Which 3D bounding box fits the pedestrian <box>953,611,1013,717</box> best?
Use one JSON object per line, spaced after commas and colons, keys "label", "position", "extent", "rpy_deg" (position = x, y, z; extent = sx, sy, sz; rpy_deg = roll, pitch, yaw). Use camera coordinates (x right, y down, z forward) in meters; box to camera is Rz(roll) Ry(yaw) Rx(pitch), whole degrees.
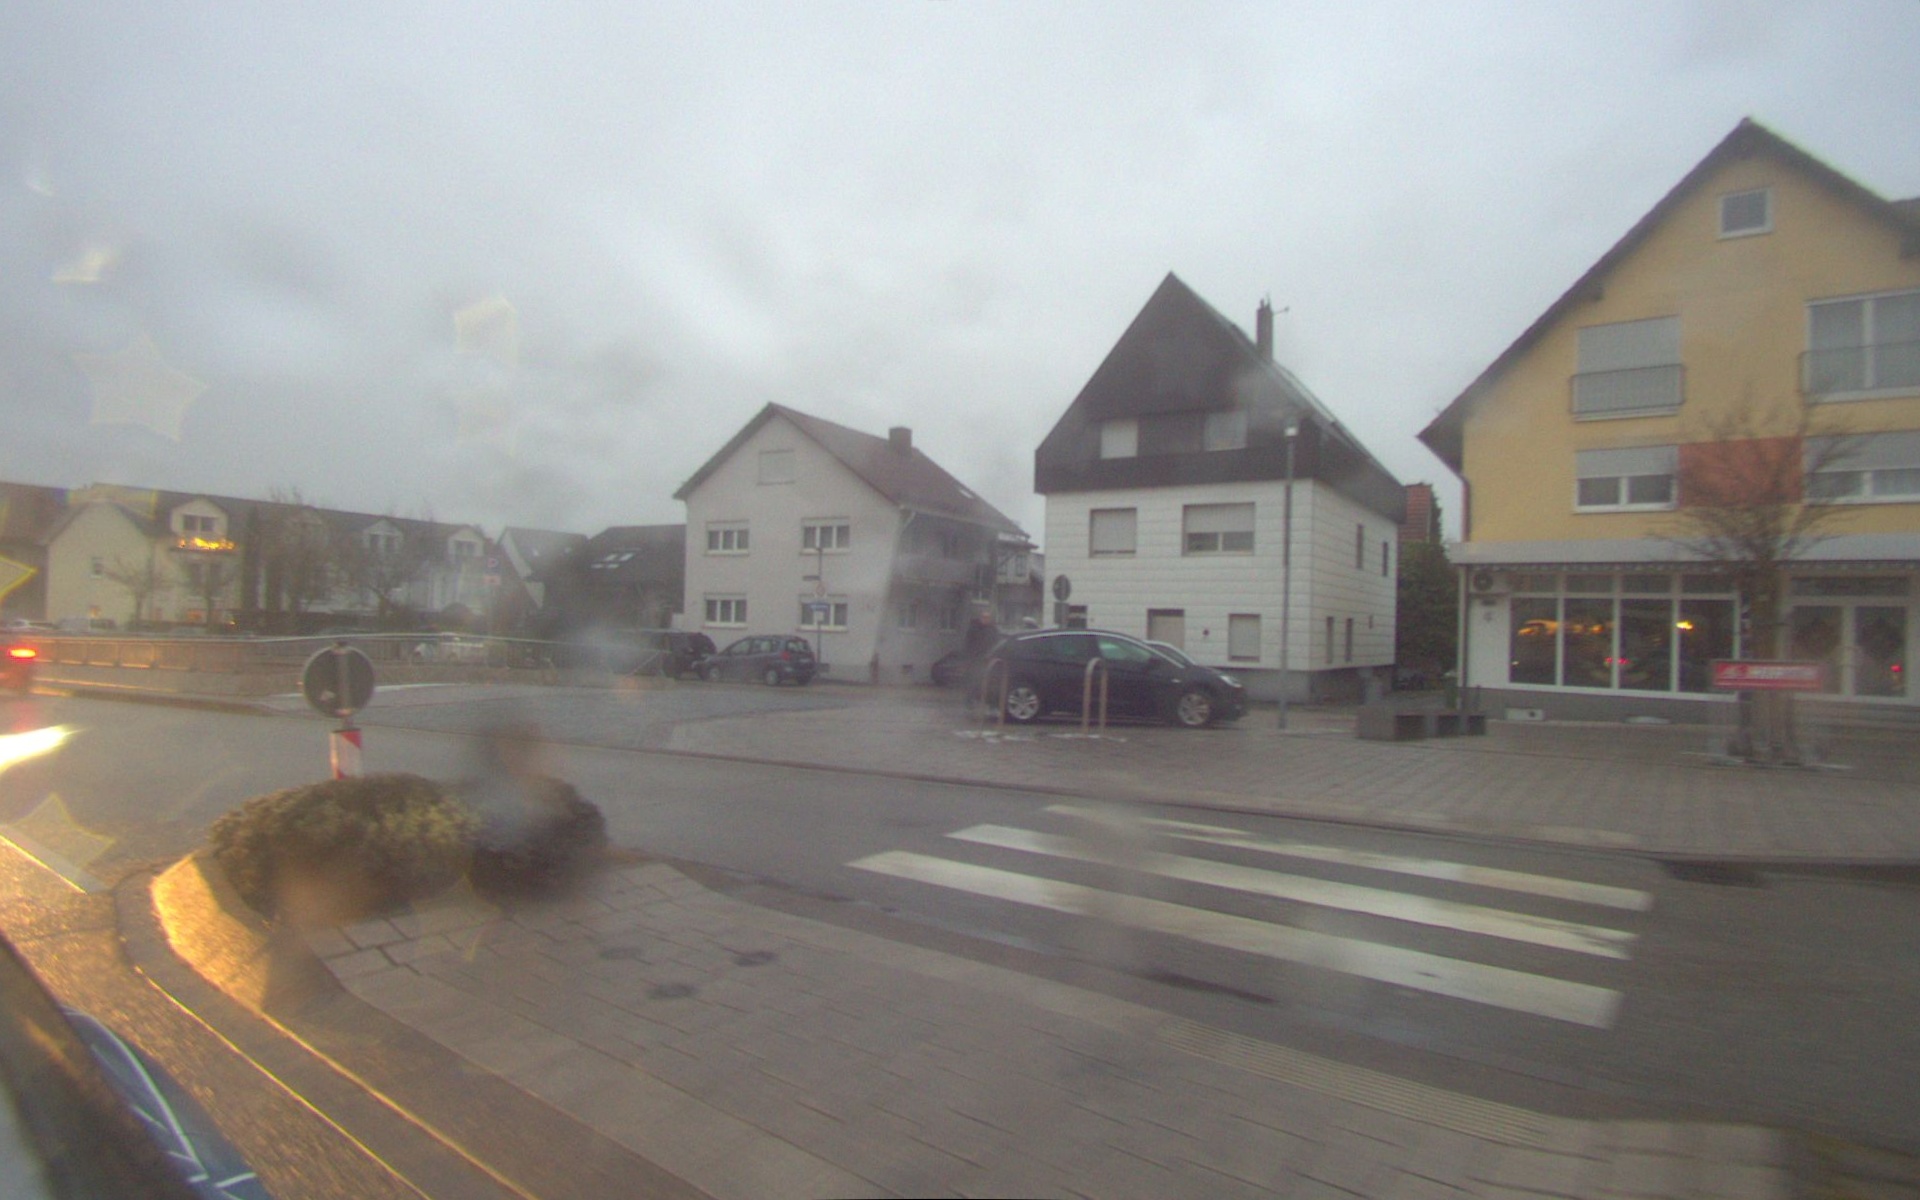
{"label": "pedestrian", "position": [0.394, 1.069, 17.038], "extent": [0.834, 1.725, 0.720], "rpy_deg": [0, -4, 17]}

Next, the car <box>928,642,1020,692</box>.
{"label": "car", "position": [0.582, 2.551, 38.183], "extent": [1.711, 1.695, 3.959], "rpy_deg": [2, -4, 30]}

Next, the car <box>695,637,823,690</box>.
{"label": "car", "position": [-6.711, 2.072, 33.752], "extent": [4.079, 1.581, 1.761], "rpy_deg": [0, -2, 31]}

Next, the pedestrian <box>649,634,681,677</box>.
{"label": "pedestrian", "position": [-8.668, 1.619, 29.740], "extent": [0.601, 1.259, 0.685], "rpy_deg": [-1, -3, 33]}

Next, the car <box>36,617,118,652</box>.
{"label": "car", "position": [-49.224, 1.909, 56.405], "extent": [4.231, 1.841, 1.785], "rpy_deg": [0, -3, 24]}

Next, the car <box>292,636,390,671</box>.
{"label": "car", "position": [-28.593, 2.470, 46.730], "extent": [4.232, 1.480, 1.785], "rpy_deg": [0, -3, 25]}

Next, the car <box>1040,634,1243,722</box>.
{"label": "car", "position": [3.672, 1.601, 20.895], "extent": [3.952, 1.644, 1.761], "rpy_deg": [1, -4, 7]}

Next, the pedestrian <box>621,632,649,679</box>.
{"label": "pedestrian", "position": [-9.245, 1.578, 28.804], "extent": [0.594, 1.312, 0.511], "rpy_deg": [0, -2, 0]}

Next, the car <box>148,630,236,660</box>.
{"label": "car", "position": [-39.669, 2.309, 52.279], "extent": [4.232, 1.480, 1.785], "rpy_deg": [0, -3, 25]}

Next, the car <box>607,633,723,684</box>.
{"label": "car", "position": [-10.548, 2.030, 36.117], "extent": [3.942, 1.673, 1.688], "rpy_deg": [0, -2, 29]}

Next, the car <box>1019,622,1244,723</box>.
{"label": "car", "position": [3.049, 1.322, 18.628], "extent": [3.845, 1.683, 1.838], "rpy_deg": [1, -4, 3]}

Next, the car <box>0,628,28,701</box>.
{"label": "car", "position": [-20.442, 1.282, 20.633], "extent": [3.360, 1.422, 1.490], "rpy_deg": [-1, -2, 37]}

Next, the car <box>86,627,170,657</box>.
{"label": "car", "position": [-44.745, 2.249, 54.407], "extent": [4.232, 1.480, 1.785], "rpy_deg": [0, -3, 25]}

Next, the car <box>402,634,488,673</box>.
{"label": "car", "position": [-21.729, 2.236, 42.723], "extent": [3.486, 1.520, 1.465], "rpy_deg": [0, -3, 28]}

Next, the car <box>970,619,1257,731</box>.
{"label": "car", "position": [2.263, 1.123, 15.754], "extent": [4.121, 1.543, 1.914], "rpy_deg": [1, -2, -1]}

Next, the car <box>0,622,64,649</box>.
{"label": "car", "position": [-54.383, 2.075, 58.821], "extent": [3.987, 1.480, 1.665], "rpy_deg": [0, -5, 20]}
